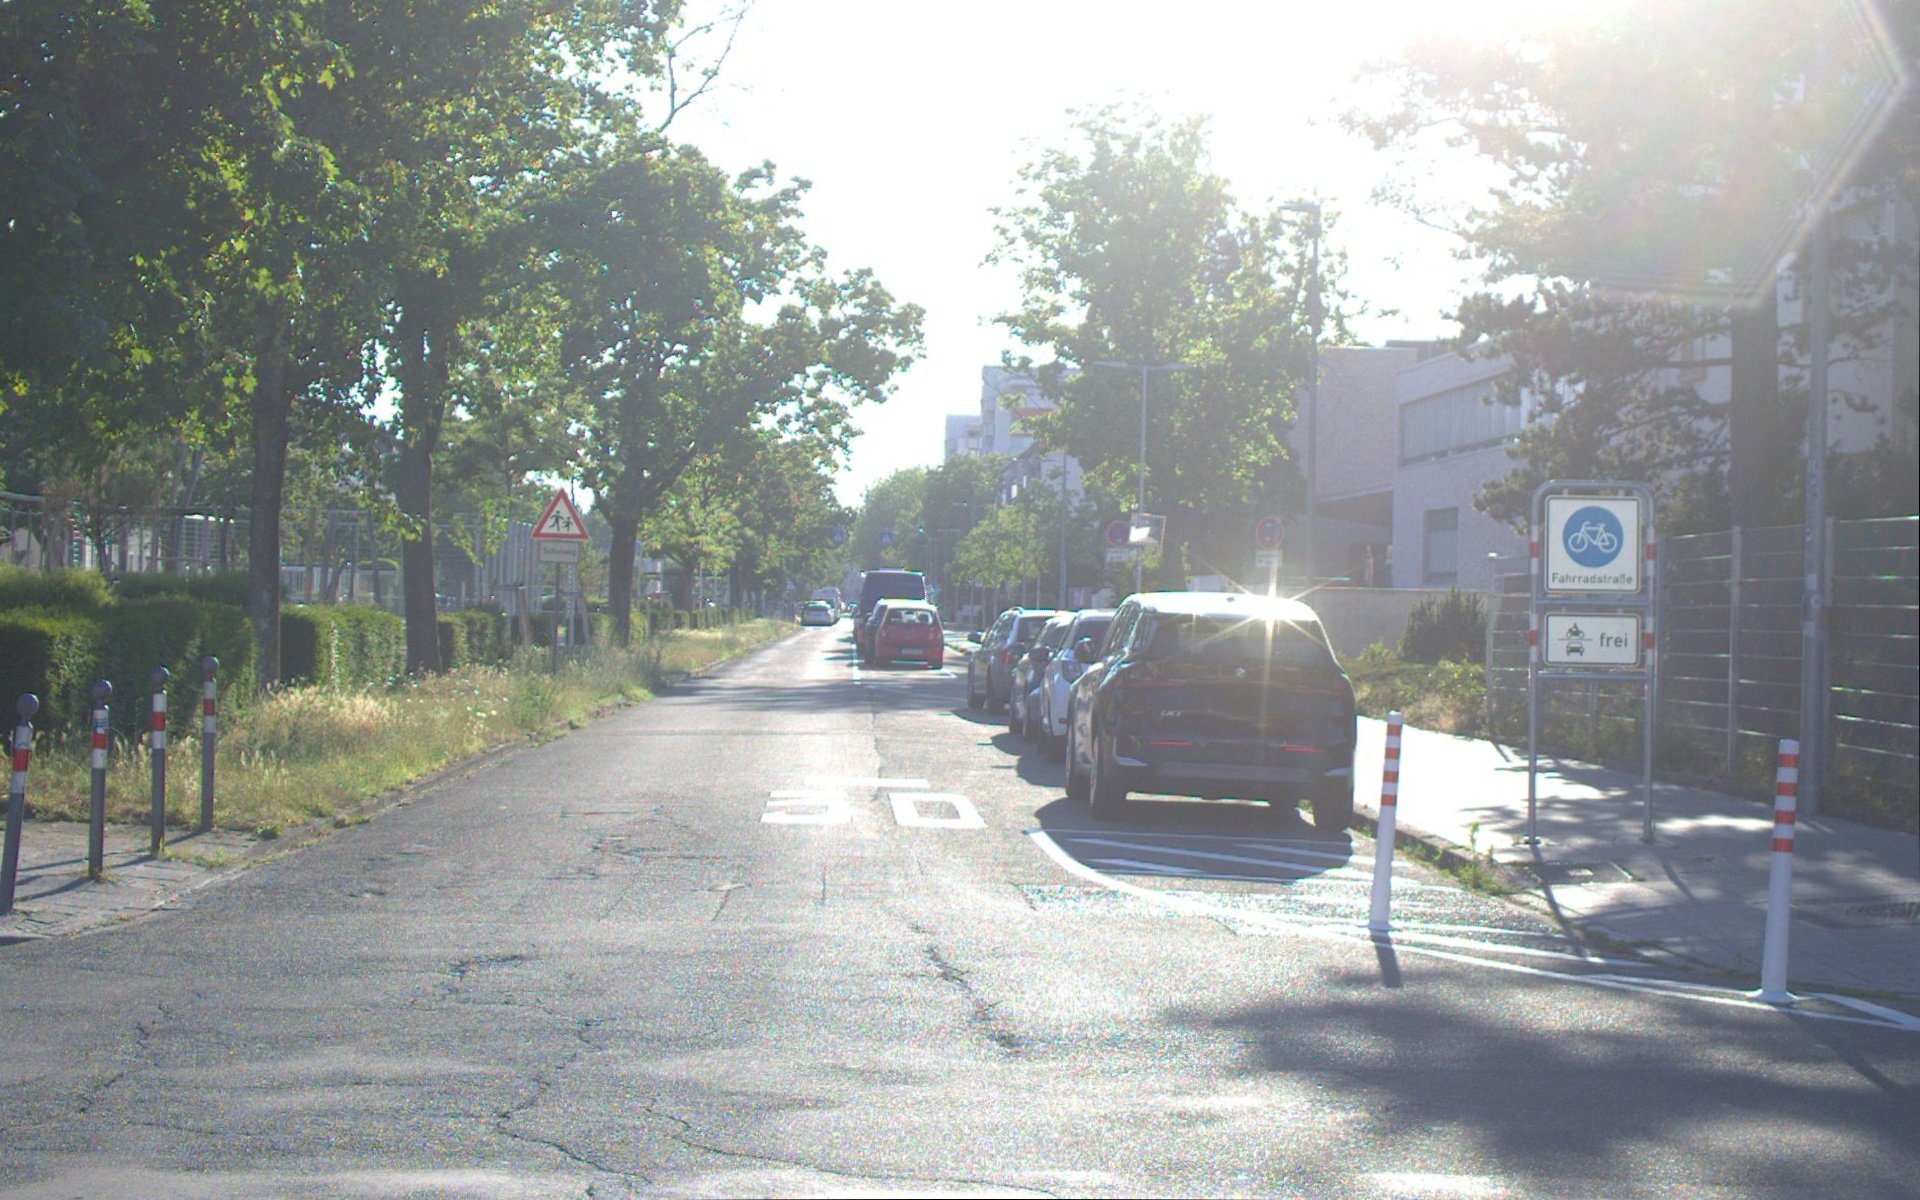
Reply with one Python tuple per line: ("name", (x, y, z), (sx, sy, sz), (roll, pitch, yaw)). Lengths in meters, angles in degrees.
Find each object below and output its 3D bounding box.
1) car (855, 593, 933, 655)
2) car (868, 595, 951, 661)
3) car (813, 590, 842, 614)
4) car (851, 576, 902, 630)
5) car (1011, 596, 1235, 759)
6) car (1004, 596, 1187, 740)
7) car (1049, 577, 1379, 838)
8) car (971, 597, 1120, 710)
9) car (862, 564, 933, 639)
("car", (-1.696, 0.598, 87.474), (1.729, 1.513, 3.760), (1, 0, -4))
("car", (-1.234, 0.660, 82.947), (1.756, 1.513, 3.760), (1, 0, -4))
("car", (-8.879, 0.125, 230.368), (1.865, 1.612, 4.000), (1, 0, -3))
("car", (-3.398, 0.129, 139.840), (1.993, 2.116, 4.000), (1, 0, -2))
("car", (1.555, 0.721, 33.981), (1.765, 1.521, 3.773), (0, 0, -4))
("car", (1.489, 0.734, 38.978), (1.729, 1.513, 3.760), (1, 0, -3))
("car", (1.759, 0.720, 25.144), (1.817, 1.636, 4.217), (4, 0, -3))
("car", (1.162, 0.716, 48.178), (1.765, 1.521, 3.773), (0, 0, -4))
("car", (-1.861, 0.035, 100.618), (1.993, 2.116, 4.000), (1, 0, -2))
